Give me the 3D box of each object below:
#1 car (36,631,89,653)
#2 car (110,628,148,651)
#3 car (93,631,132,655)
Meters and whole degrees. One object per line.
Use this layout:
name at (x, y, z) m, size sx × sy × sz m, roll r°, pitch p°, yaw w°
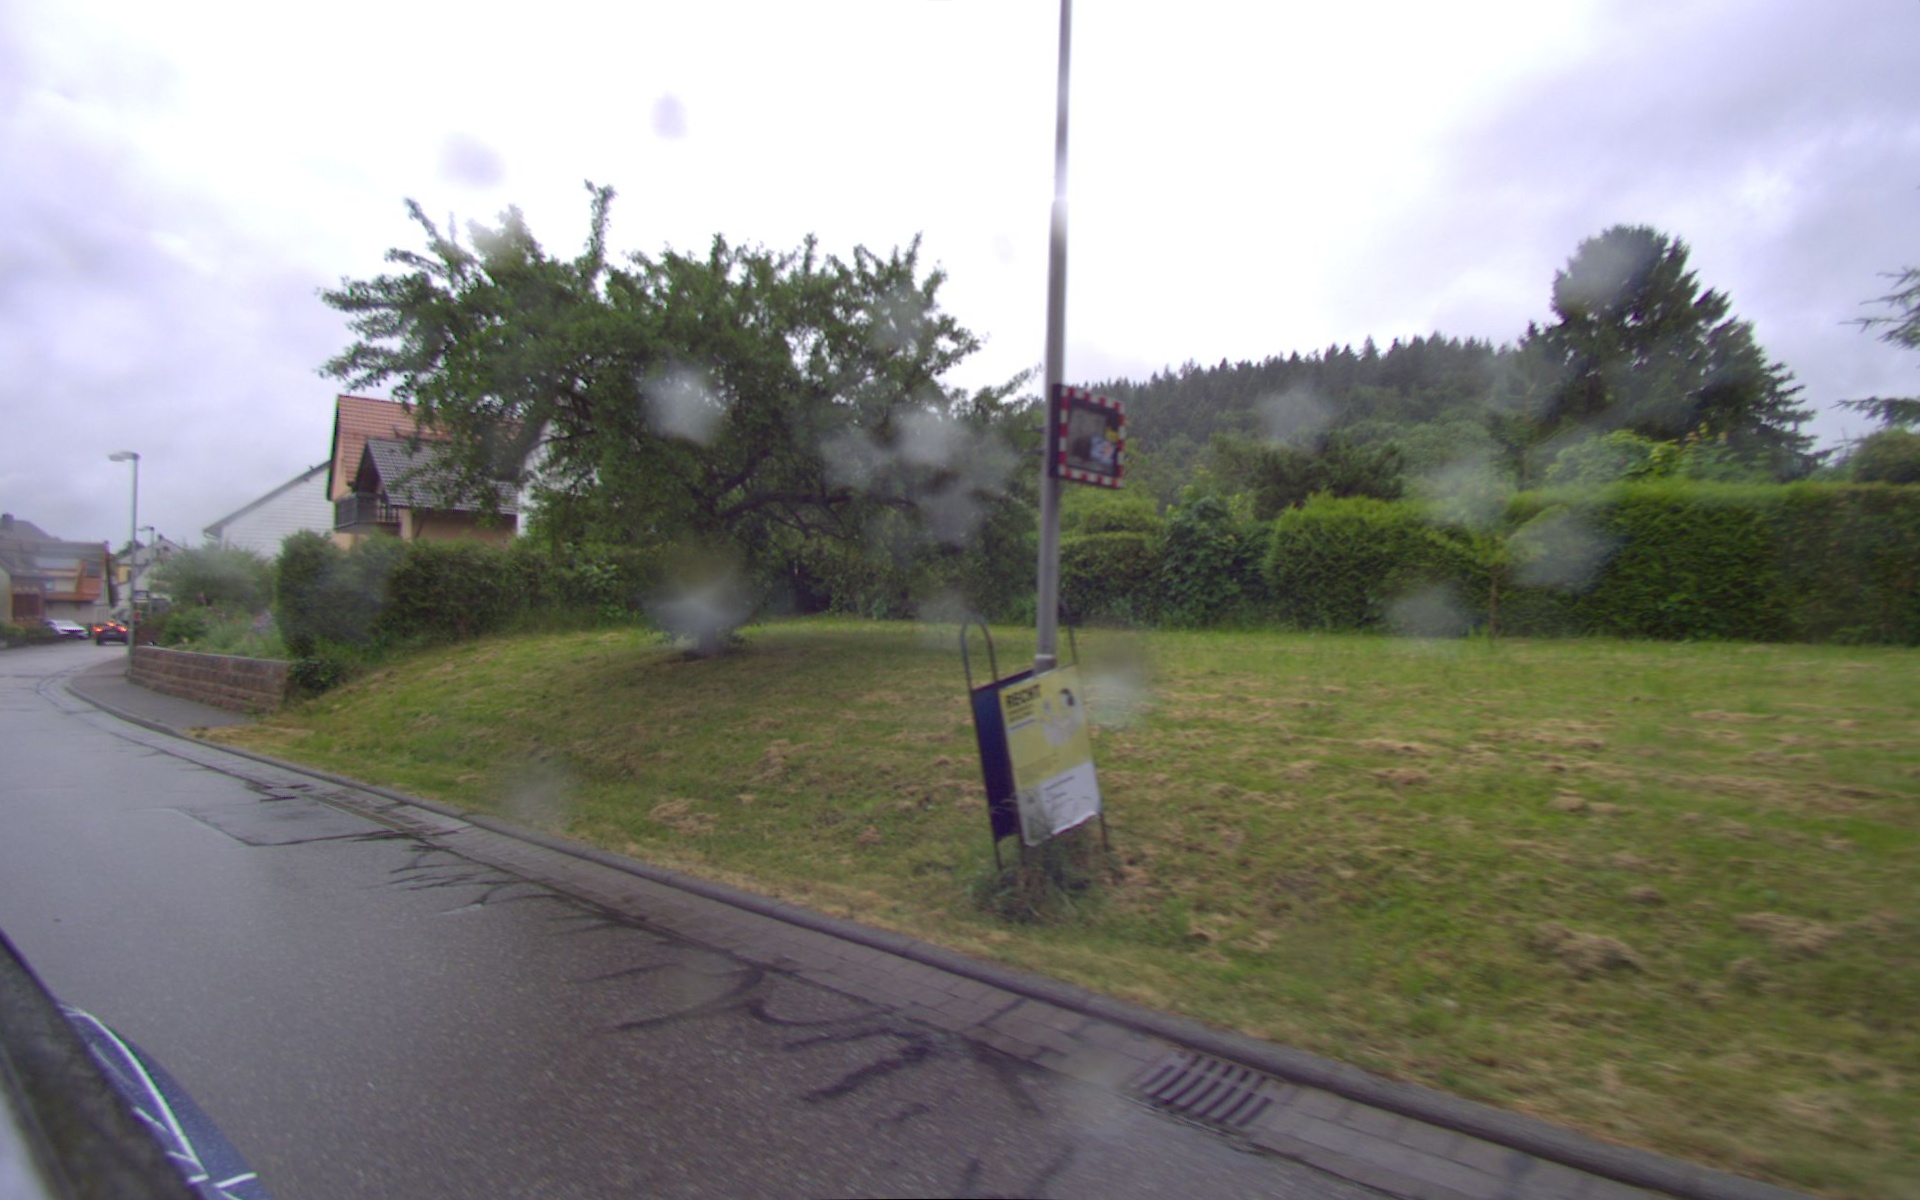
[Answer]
car at (-70.090, 3.278, 79.067) m, size 3.873 × 1.587 × 1.873 m, roll -1°, pitch 0°, yaw 28°
car at (-66.098, 3.107, 80.548) m, size 1.809 × 1.686 × 5.210 m, roll 3°, pitch -2°, yaw -35°
car at (-59.081, 2.981, 70.613) m, size 1.677 × 1.558 × 3.860 m, roll 4°, pitch -4°, yaw -35°
